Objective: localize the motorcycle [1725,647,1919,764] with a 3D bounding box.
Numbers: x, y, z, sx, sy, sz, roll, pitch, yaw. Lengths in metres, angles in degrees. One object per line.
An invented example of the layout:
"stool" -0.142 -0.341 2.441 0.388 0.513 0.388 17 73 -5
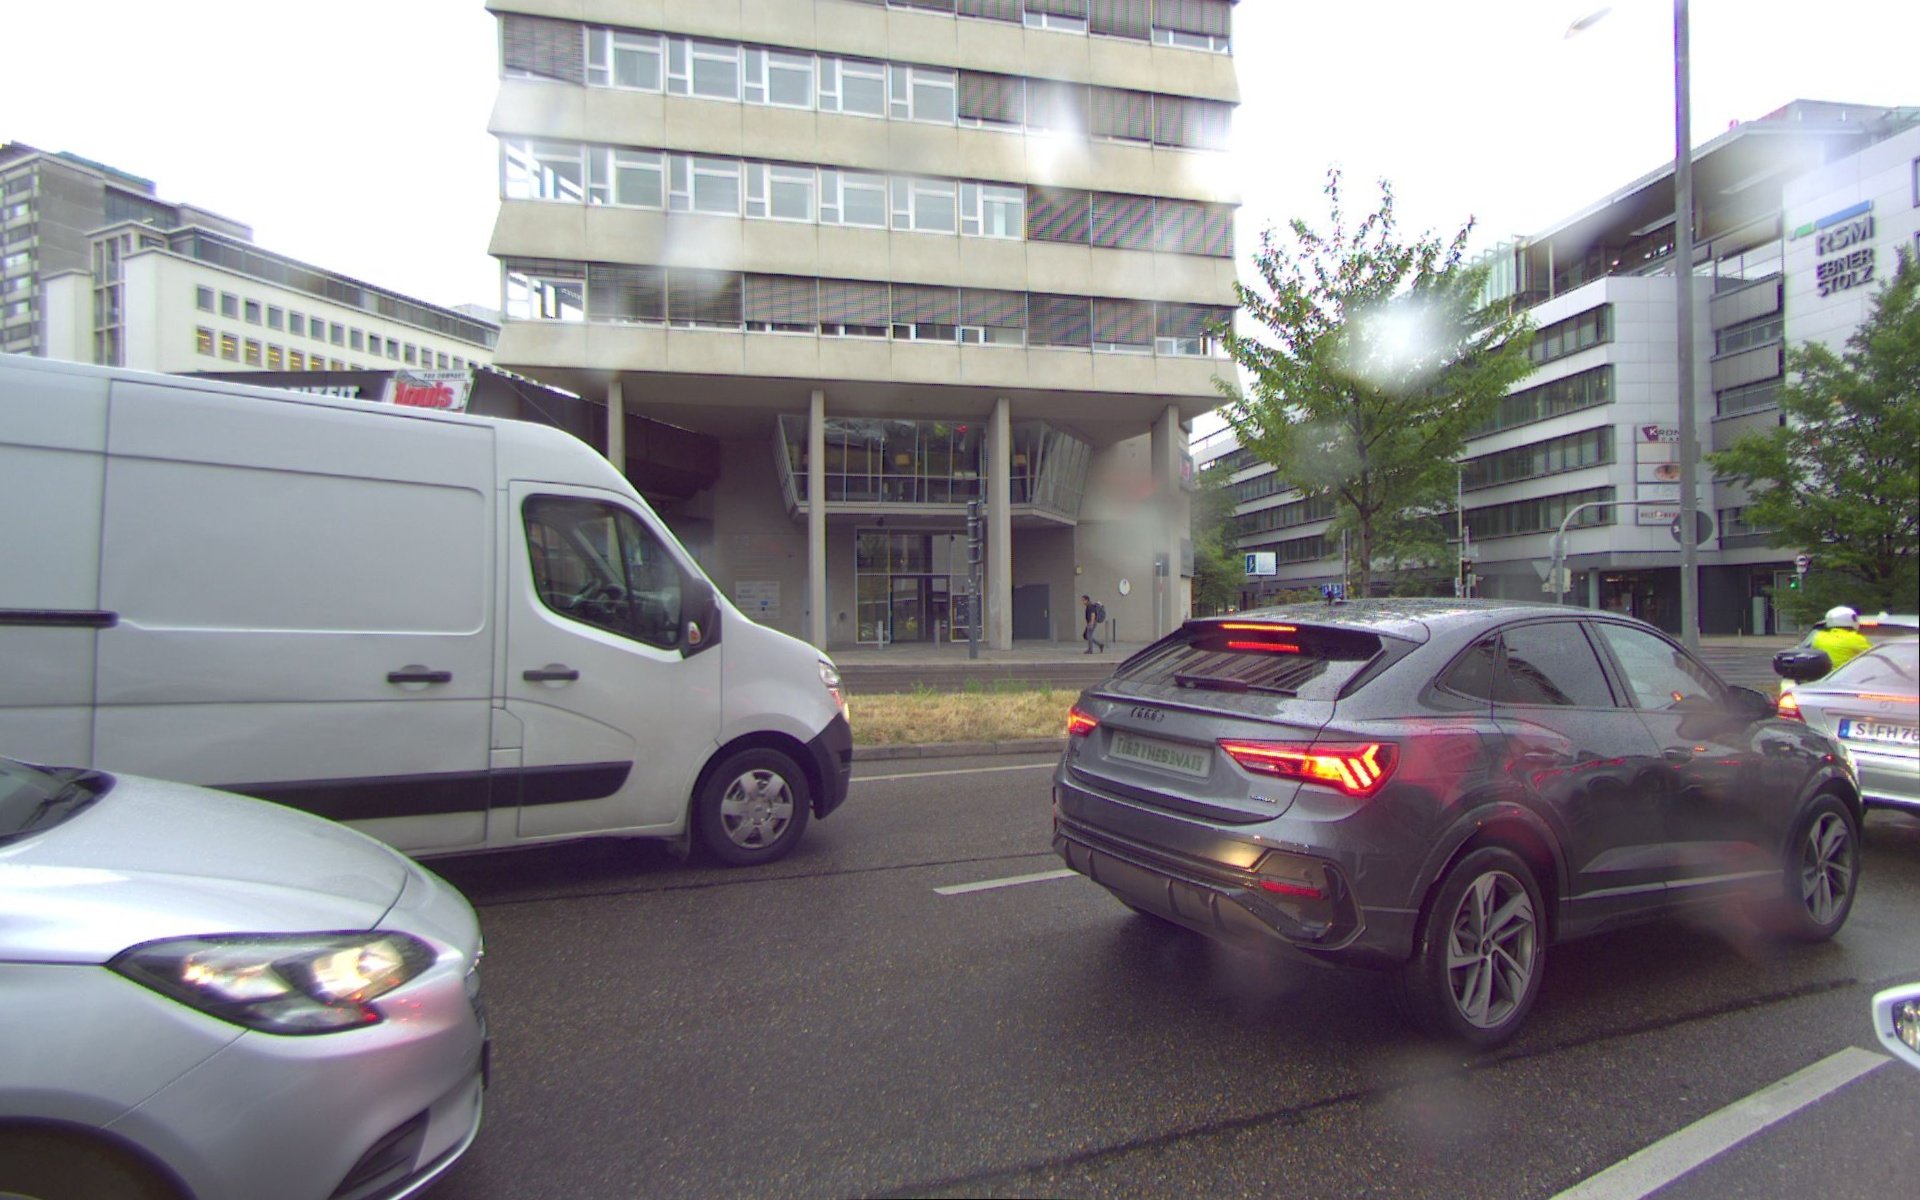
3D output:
"motorcycle" 9.746 1.165 11.357 1.998 1.200 0.799 2 0 -21

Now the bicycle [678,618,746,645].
"bicycle" -8.387 1.077 34.039 2.165 0.871 0.456 2 0 -31

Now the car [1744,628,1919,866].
"car" 7.657 0.969 7.086 4.050 1.426 1.567 2 0 -23

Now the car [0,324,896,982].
"car" -3.159 0.211 5.269 5.424 2.473 1.934 1 0 -35

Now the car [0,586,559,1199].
"car" -2.853 0.685 1.694 3.831 1.455 1.639 1 0 -32

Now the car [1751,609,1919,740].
"car" 12.630 0.933 13.210 3.940 1.506 1.704 2 0 -21

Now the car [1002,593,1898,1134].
"car" 2.414 0.777 4.639 4.220 1.542 1.640 1 0 -30

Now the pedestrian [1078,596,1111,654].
"pedestrian" 4.023 0.732 30.055 0.751 1.706 0.677 1 0 -16

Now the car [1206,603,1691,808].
"car" 4.786 0.843 9.671 4.719 1.554 1.857 1 0 -30

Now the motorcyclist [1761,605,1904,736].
"motorcyclist" 9.852 0.779 11.355 1.102 1.398 0.769 2 0 -21
